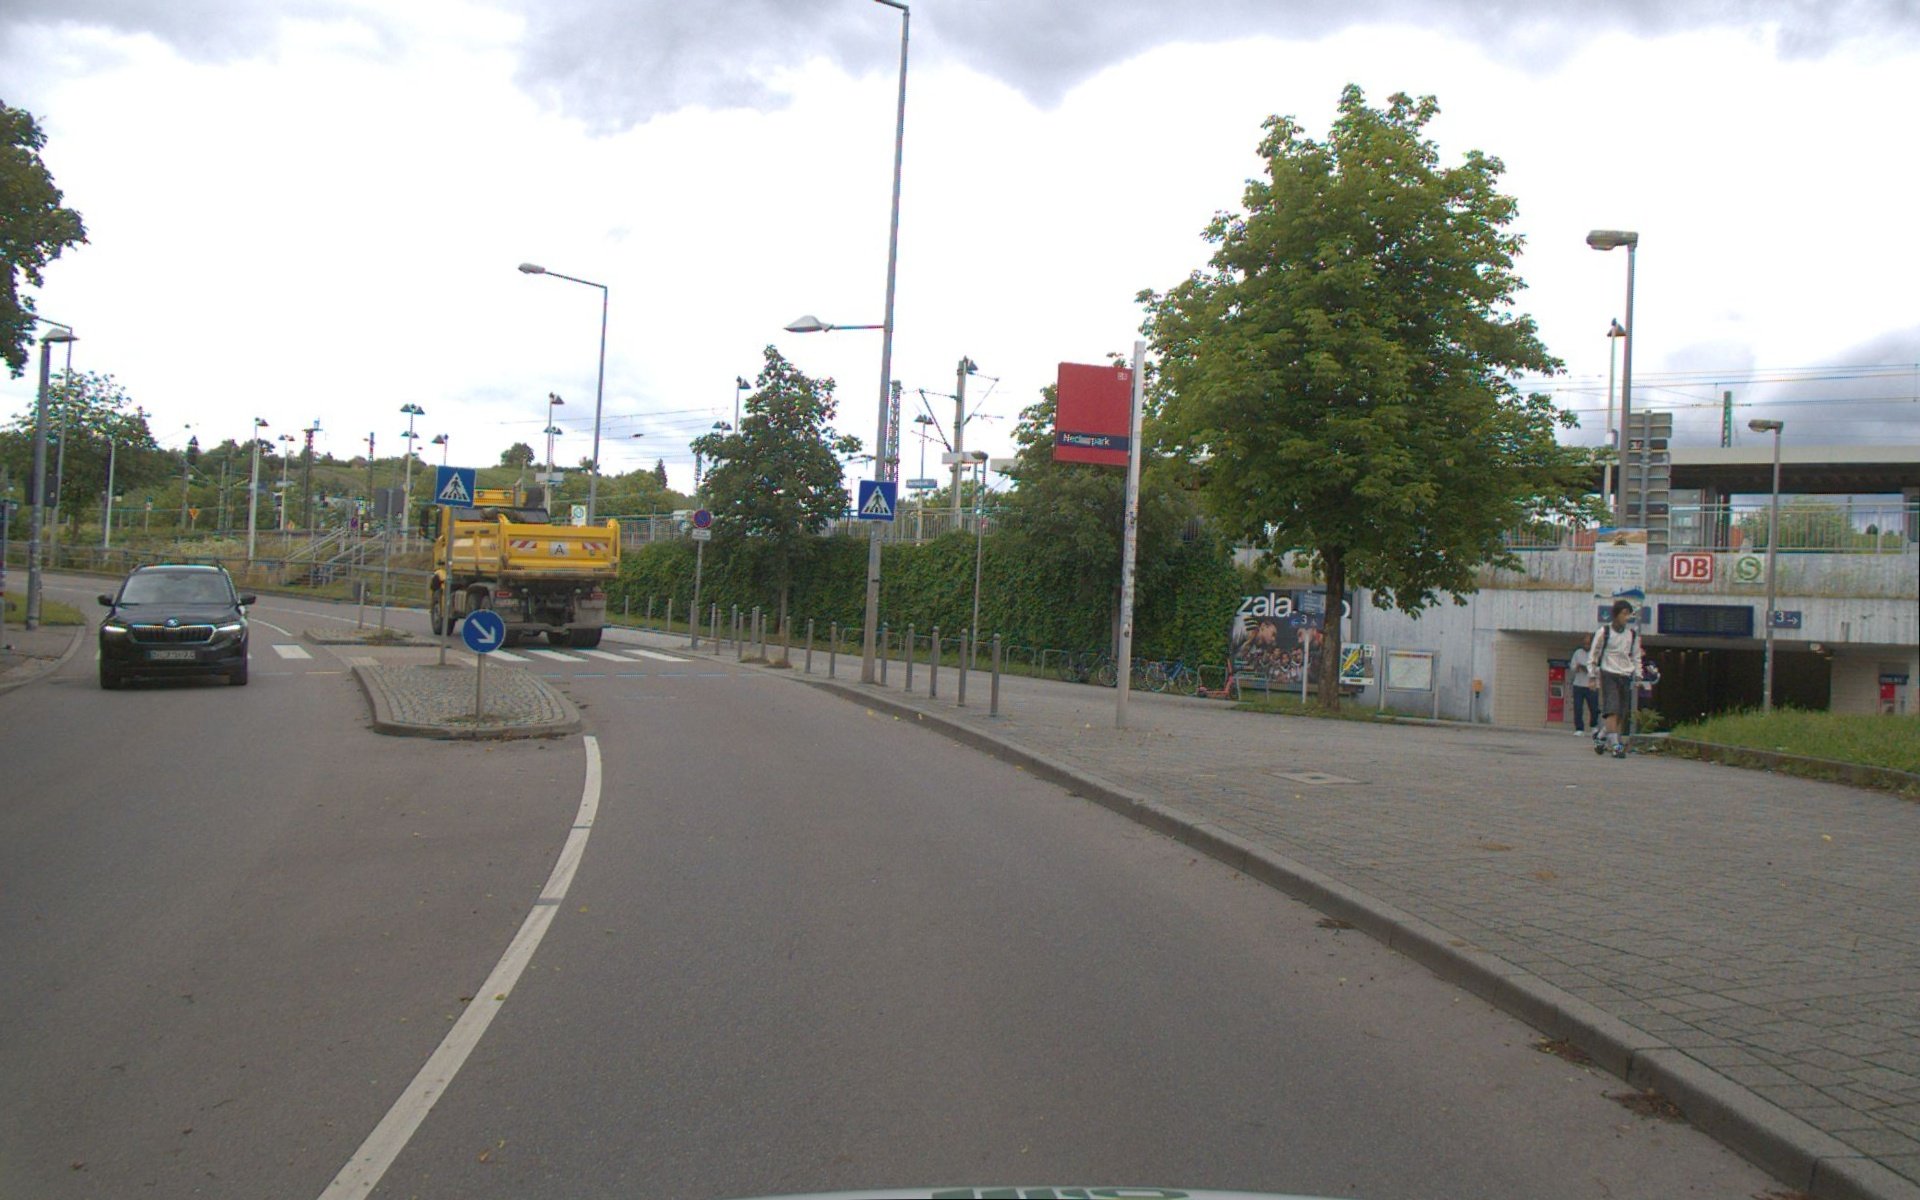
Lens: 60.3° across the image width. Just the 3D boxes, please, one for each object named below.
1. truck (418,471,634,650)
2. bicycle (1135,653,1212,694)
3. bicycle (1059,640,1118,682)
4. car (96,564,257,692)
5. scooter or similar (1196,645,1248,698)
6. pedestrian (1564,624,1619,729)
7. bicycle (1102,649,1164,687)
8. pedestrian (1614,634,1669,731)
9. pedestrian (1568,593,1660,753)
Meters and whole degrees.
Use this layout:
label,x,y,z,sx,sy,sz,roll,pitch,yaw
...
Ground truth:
label,x,y,z,sx,sy,sz,roll,pitch,yaw
truck,-10.068,-0.973,37.634,2.734,3.543,8.053,3,1,-29
bicycle,5.627,1.937,43.570,1.938,0.880,0.508,7,-2,-21
bicycle,3.493,1.652,44.913,1.458,1.006,0.694,5,-1,-3
car,-10.922,0.319,23.298,1.777,1.638,4.149,0,1,-22
scooter or similar,6.730,1.838,42.492,1.169,1.227,0.466,6,-2,-17
pedestrian,10.745,1.295,28.160,0.797,1.732,0.749,2,-2,19
bicycle,4.649,1.820,44.508,1.551,0.869,0.461,6,-1,-18
pedestrian,11.750,1.423,28.530,0.783,1.611,0.802,2,-2,19
pedestrian,7.267,0.809,18.412,0.830,1.714,0.940,1,-2,15
